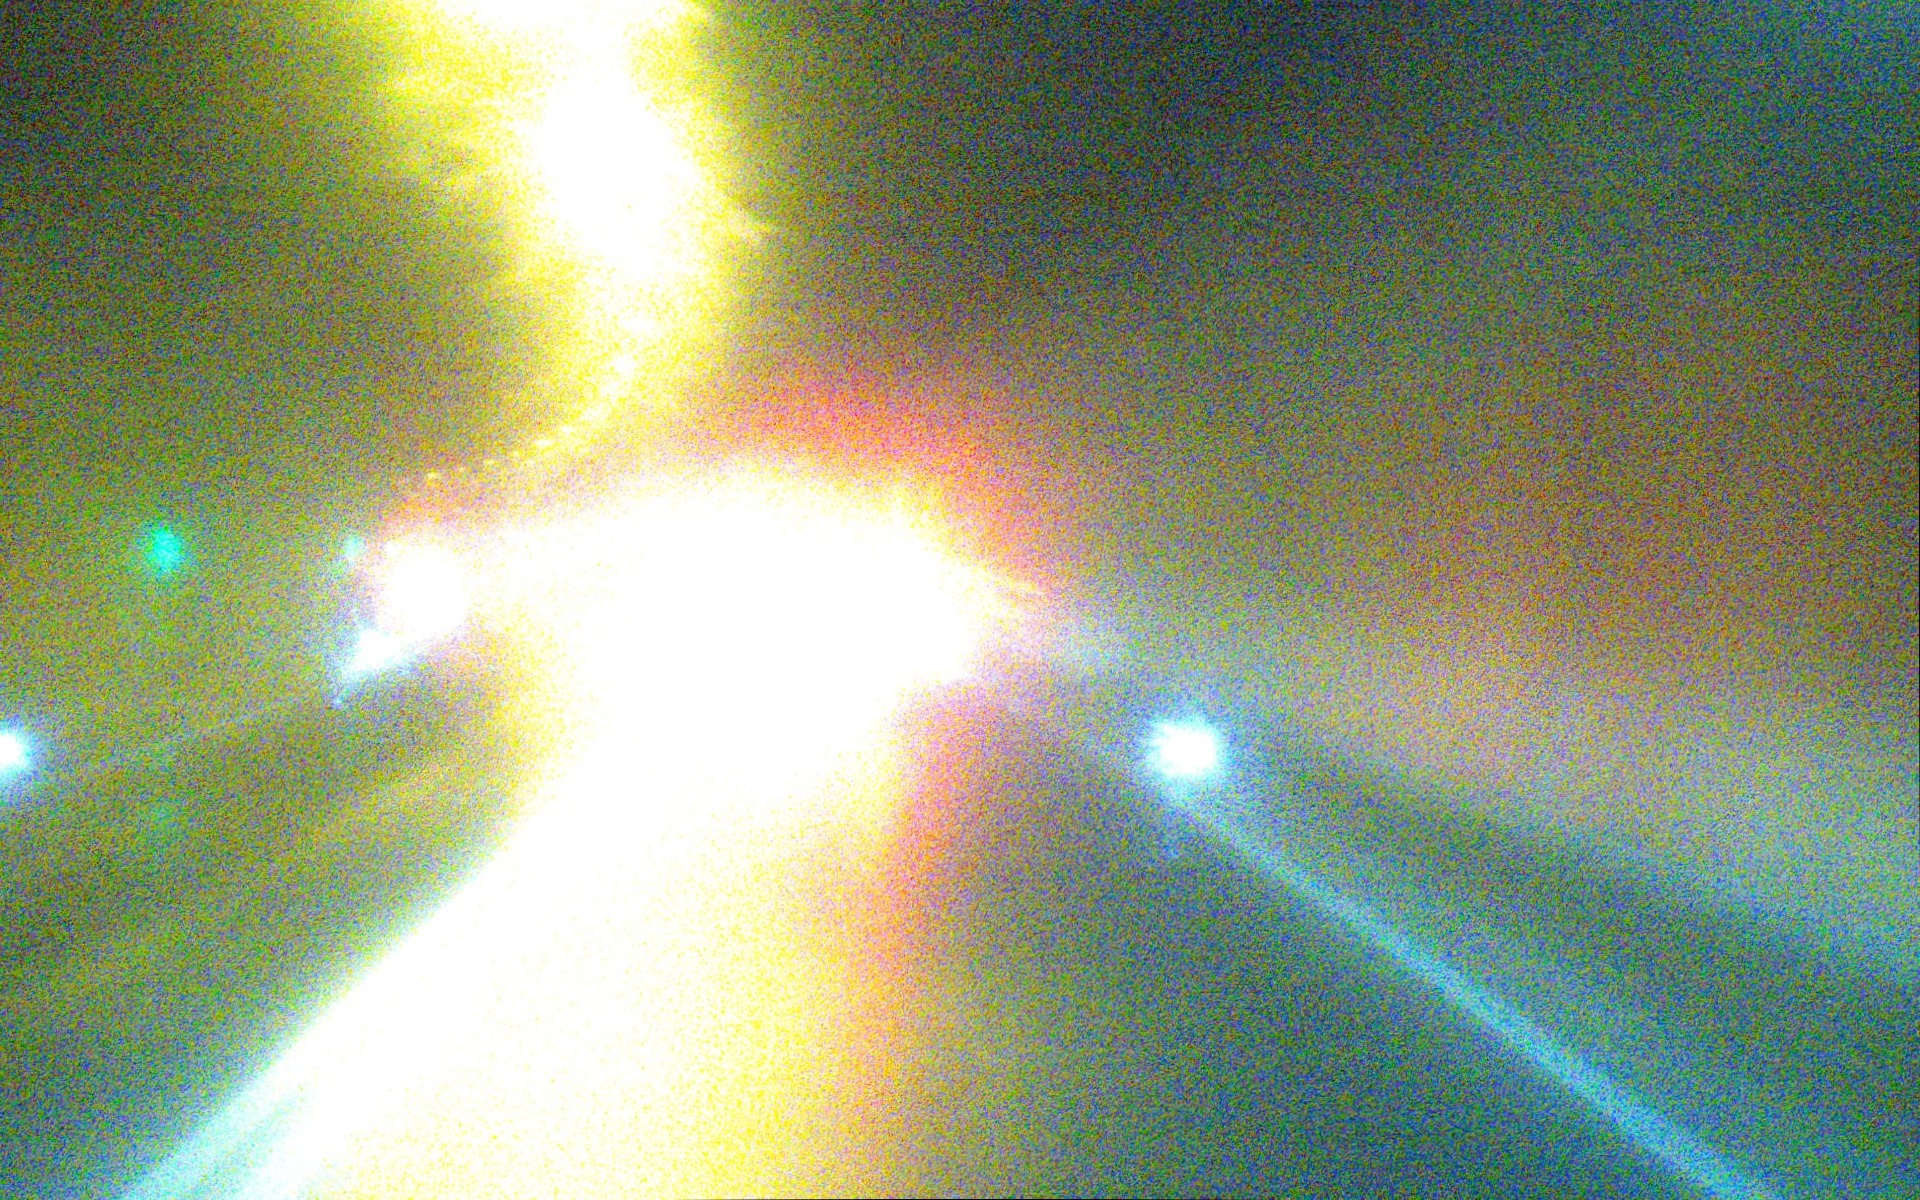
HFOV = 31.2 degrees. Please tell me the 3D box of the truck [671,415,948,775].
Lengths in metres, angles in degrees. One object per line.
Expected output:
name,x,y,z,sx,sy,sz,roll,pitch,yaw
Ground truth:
truck,-1.422,-0.099,33.087,2.262,3.000,7.416,2,1,-2
